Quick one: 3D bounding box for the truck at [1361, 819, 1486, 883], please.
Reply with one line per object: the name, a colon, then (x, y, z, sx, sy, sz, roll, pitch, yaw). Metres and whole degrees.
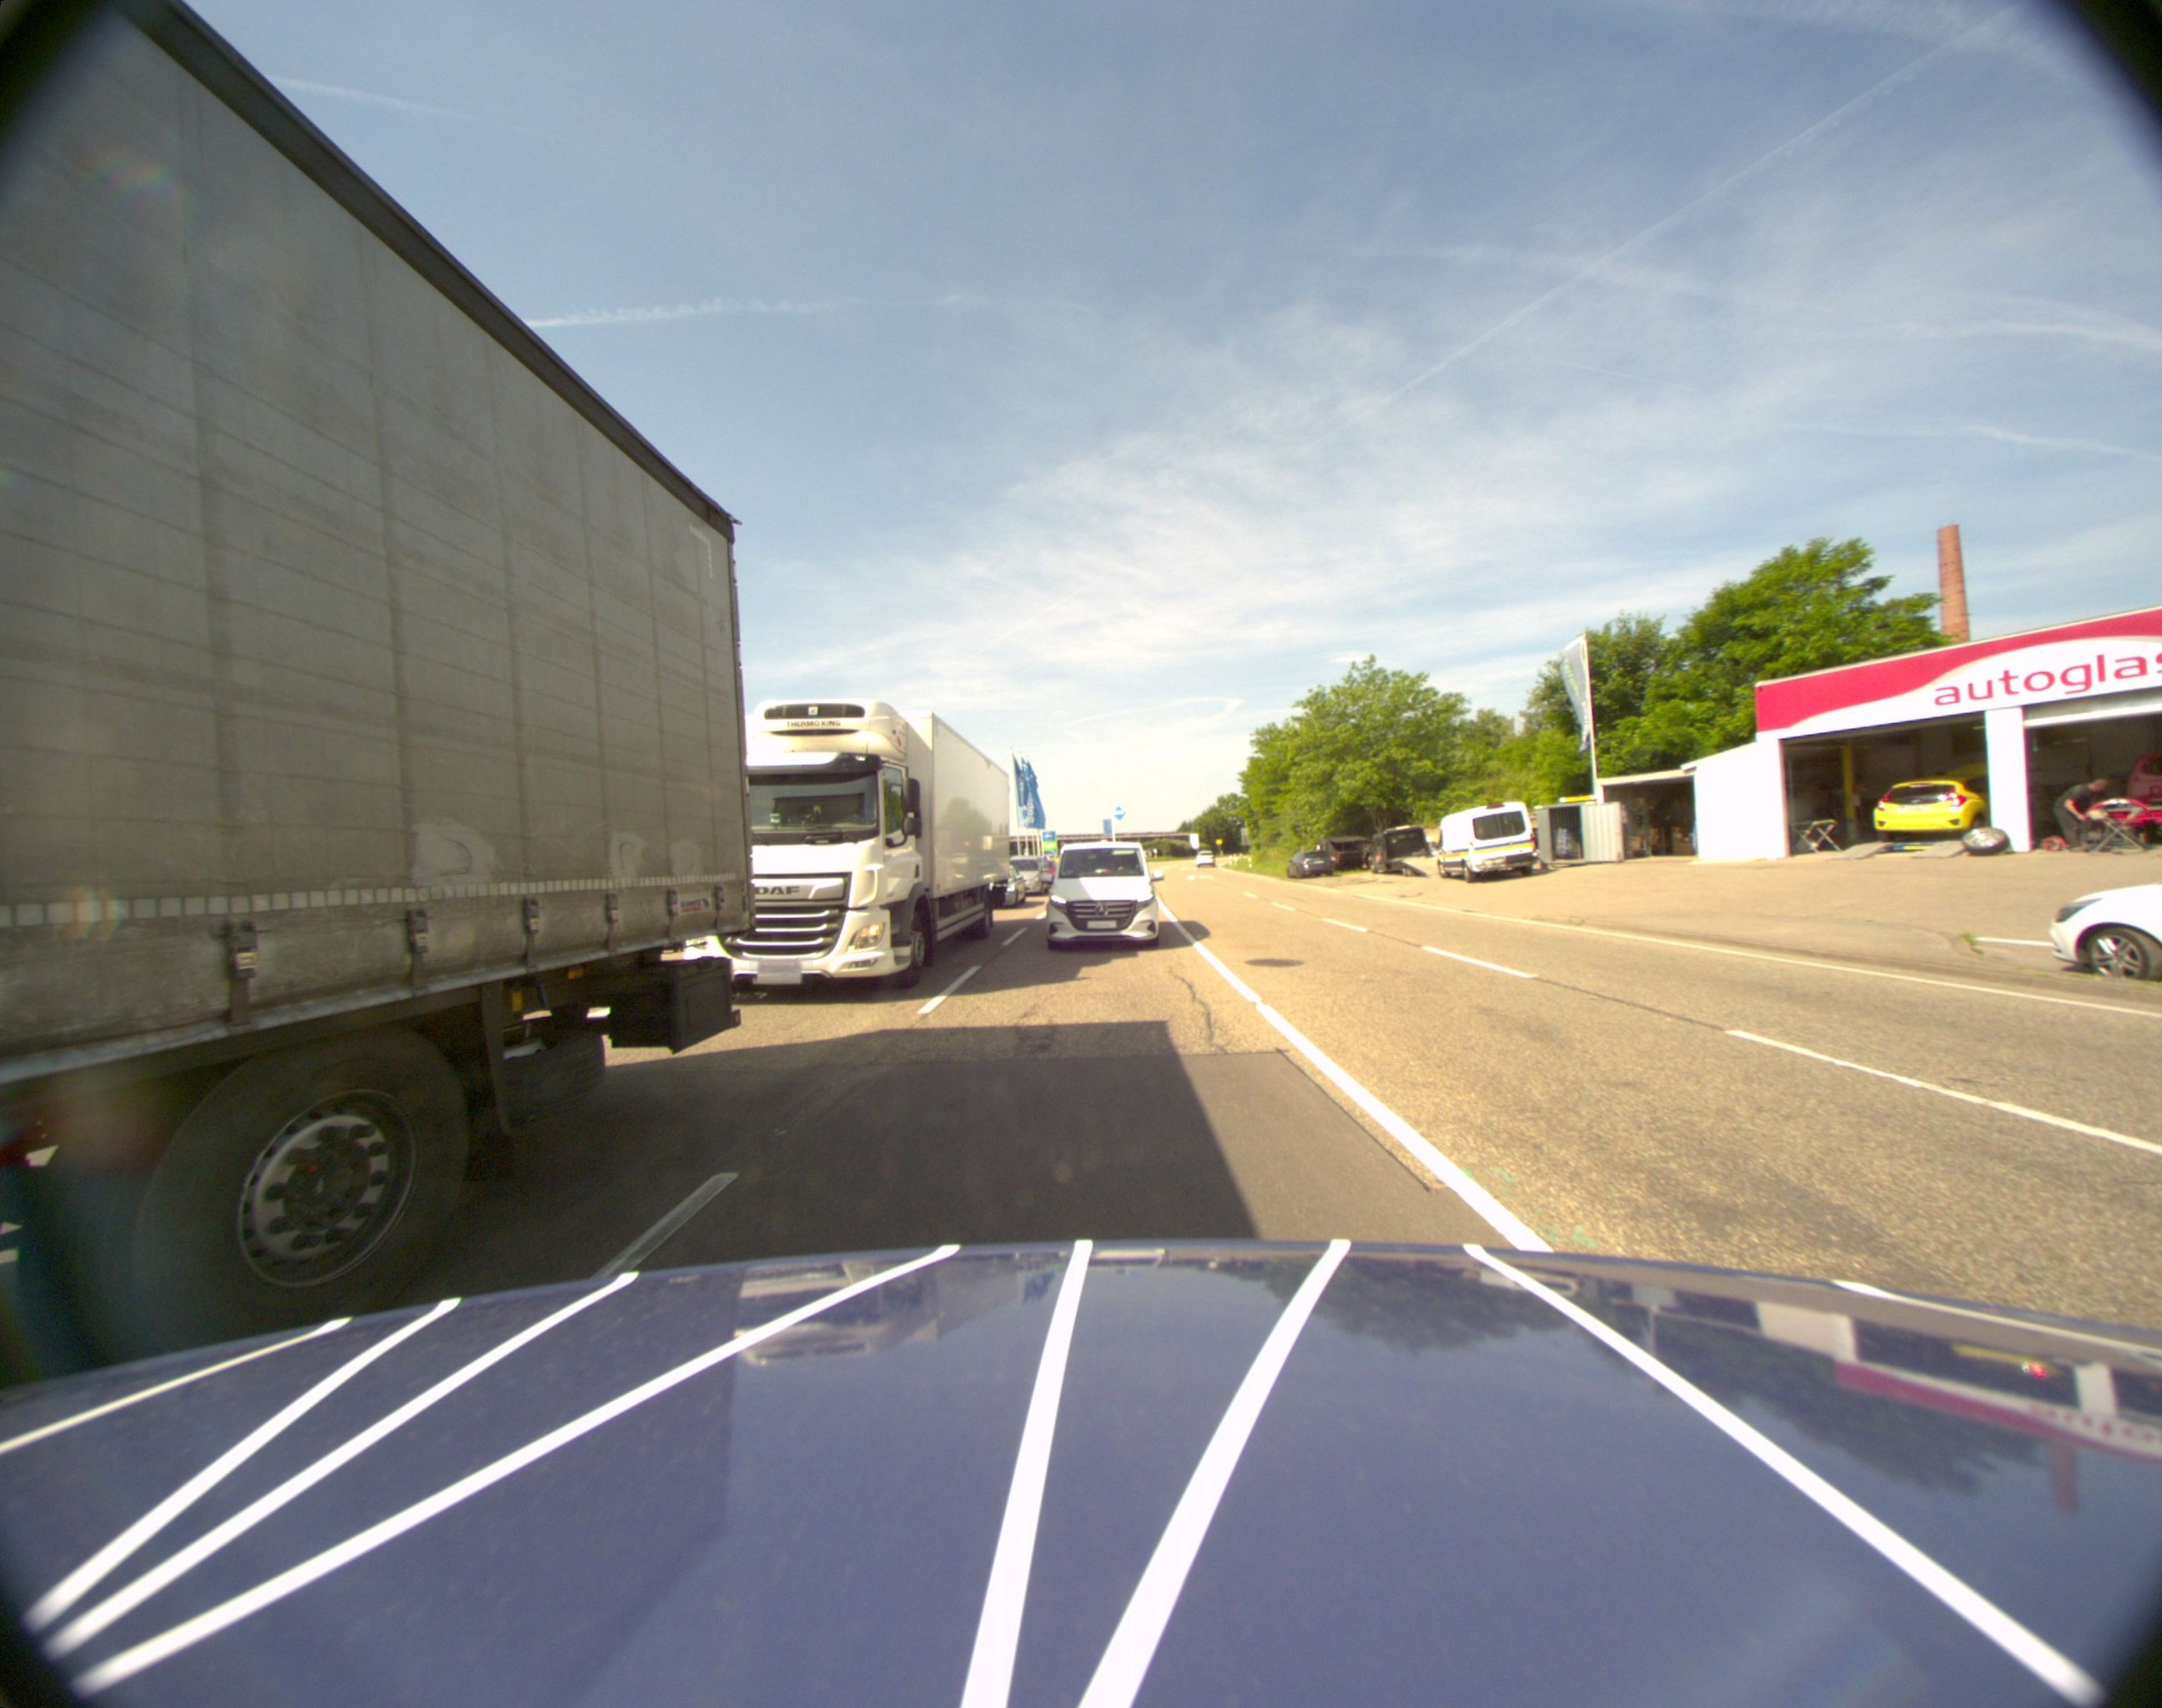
truck: (15.551, -0.155, 35.347, 2.336, 2.283, 8.805, -8, 0, 5)

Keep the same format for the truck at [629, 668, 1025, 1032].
truck: (-3.164, -0.041, 13.788, 2.886, 3.788, 11.142, -3, 0, 2)

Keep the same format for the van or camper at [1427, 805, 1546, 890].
van or camper: (14.437, -0.251, 27.517, 2.158, 2.484, 5.955, -7, -1, 14)

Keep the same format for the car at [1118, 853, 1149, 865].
car: (8.160, 0.797, 118.404, 4.248, 1.628, 1.826, -4, -1, 29)

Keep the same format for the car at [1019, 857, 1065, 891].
car: (-1.980, 0.987, 39.508, 1.804, 1.563, 3.714, -2, 0, 5)

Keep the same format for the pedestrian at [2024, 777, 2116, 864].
pedestrian: (21.021, -0.699, 16.170, 0.724, 1.752, 0.895, -4, 1, 3)

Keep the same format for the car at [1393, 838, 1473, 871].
car: (18.917, 0.030, 40.849, 3.673, 1.502, 1.715, -4, 0, -18)

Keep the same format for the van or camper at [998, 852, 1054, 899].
van or camper: (-2.322, 0.879, 33.343, 1.751, 1.777, 5.133, -4, 0, 2)

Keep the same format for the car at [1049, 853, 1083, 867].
car: (-2.074, 0.817, 103.616, 4.248, 1.628, 1.826, -4, -1, 29)

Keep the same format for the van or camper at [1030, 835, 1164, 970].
van or camper: (0.309, 0.744, 14.220, 1.998, 2.002, 5.291, -1, 0, 1)

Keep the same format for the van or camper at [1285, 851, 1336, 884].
van or camper: (12.354, 0.687, 41.185, 1.643, 1.515, 4.468, -4, 0, 4)

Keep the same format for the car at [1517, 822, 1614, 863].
car: (21.244, -0.492, 33.337, 3.675, 1.520, 1.736, -4, 0, -23)

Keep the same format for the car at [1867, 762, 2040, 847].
car: (22.222, -1.252, 19.358, 3.674, 1.715, 1.736, -7, 1, -23)

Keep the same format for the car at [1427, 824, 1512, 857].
car: (20.015, -0.696, 39.208, 3.673, 1.460, 1.737, -4, 0, -18)

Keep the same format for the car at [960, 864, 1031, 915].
car: (-2.794, 1.125, 25.634, 1.739, 1.420, 4.225, -4, 0, 1)

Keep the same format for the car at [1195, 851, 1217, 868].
car: (12.580, 0.521, 76.655, 1.939, 1.664, 4.002, -2, 0, 7)

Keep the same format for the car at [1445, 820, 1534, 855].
car: (19.987, -0.793, 37.216, 3.673, 1.460, 1.737, -4, 0, -18)

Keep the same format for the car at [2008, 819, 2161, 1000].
car: (10.794, 0.489, 6.102, 1.783, 1.608, 4.000, -4, 0, 1)
